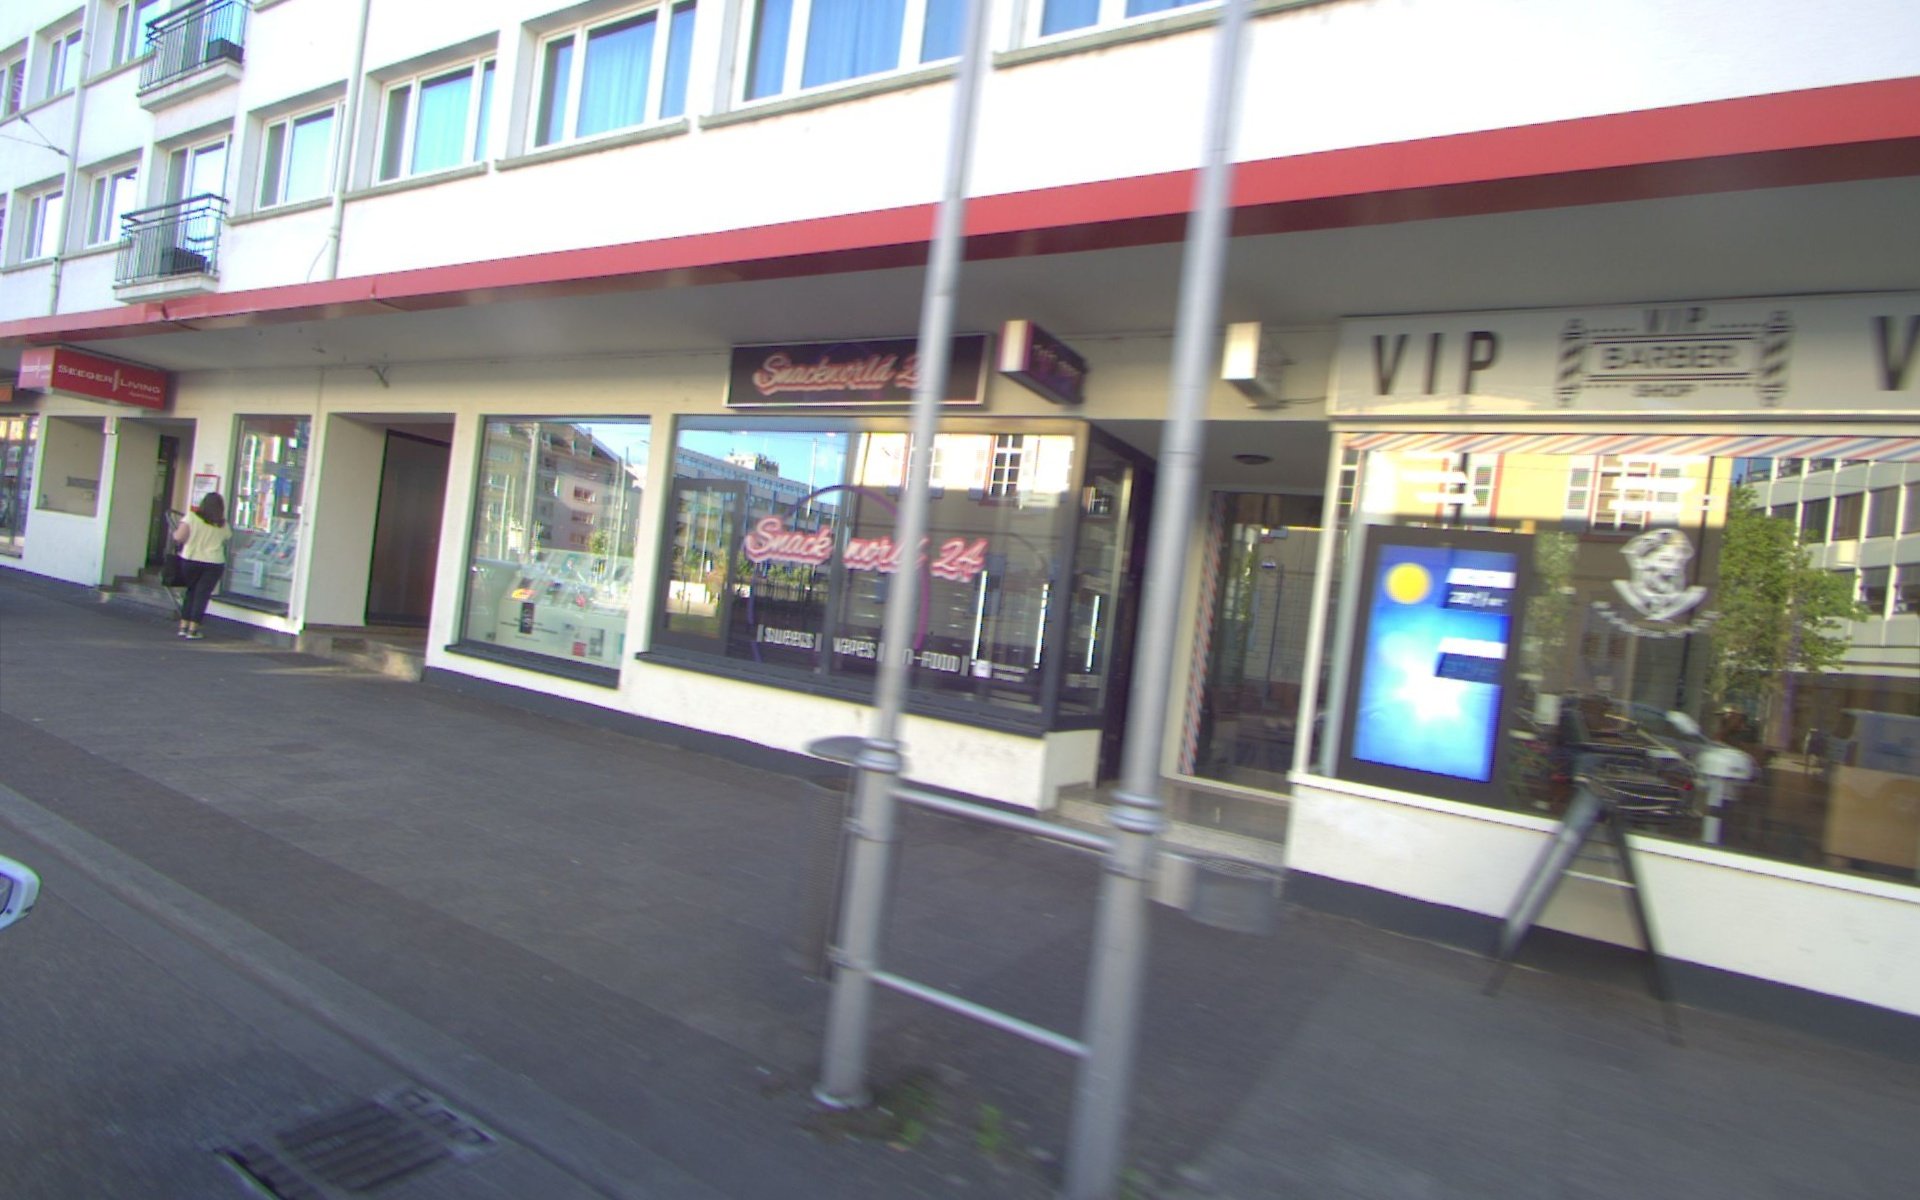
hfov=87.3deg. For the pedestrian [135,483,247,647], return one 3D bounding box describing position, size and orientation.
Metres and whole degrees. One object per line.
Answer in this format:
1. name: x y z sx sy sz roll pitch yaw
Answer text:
1. pedestrian: -9.115 -0.415 11.918 0.801 1.796 0.921 7 0 -44
